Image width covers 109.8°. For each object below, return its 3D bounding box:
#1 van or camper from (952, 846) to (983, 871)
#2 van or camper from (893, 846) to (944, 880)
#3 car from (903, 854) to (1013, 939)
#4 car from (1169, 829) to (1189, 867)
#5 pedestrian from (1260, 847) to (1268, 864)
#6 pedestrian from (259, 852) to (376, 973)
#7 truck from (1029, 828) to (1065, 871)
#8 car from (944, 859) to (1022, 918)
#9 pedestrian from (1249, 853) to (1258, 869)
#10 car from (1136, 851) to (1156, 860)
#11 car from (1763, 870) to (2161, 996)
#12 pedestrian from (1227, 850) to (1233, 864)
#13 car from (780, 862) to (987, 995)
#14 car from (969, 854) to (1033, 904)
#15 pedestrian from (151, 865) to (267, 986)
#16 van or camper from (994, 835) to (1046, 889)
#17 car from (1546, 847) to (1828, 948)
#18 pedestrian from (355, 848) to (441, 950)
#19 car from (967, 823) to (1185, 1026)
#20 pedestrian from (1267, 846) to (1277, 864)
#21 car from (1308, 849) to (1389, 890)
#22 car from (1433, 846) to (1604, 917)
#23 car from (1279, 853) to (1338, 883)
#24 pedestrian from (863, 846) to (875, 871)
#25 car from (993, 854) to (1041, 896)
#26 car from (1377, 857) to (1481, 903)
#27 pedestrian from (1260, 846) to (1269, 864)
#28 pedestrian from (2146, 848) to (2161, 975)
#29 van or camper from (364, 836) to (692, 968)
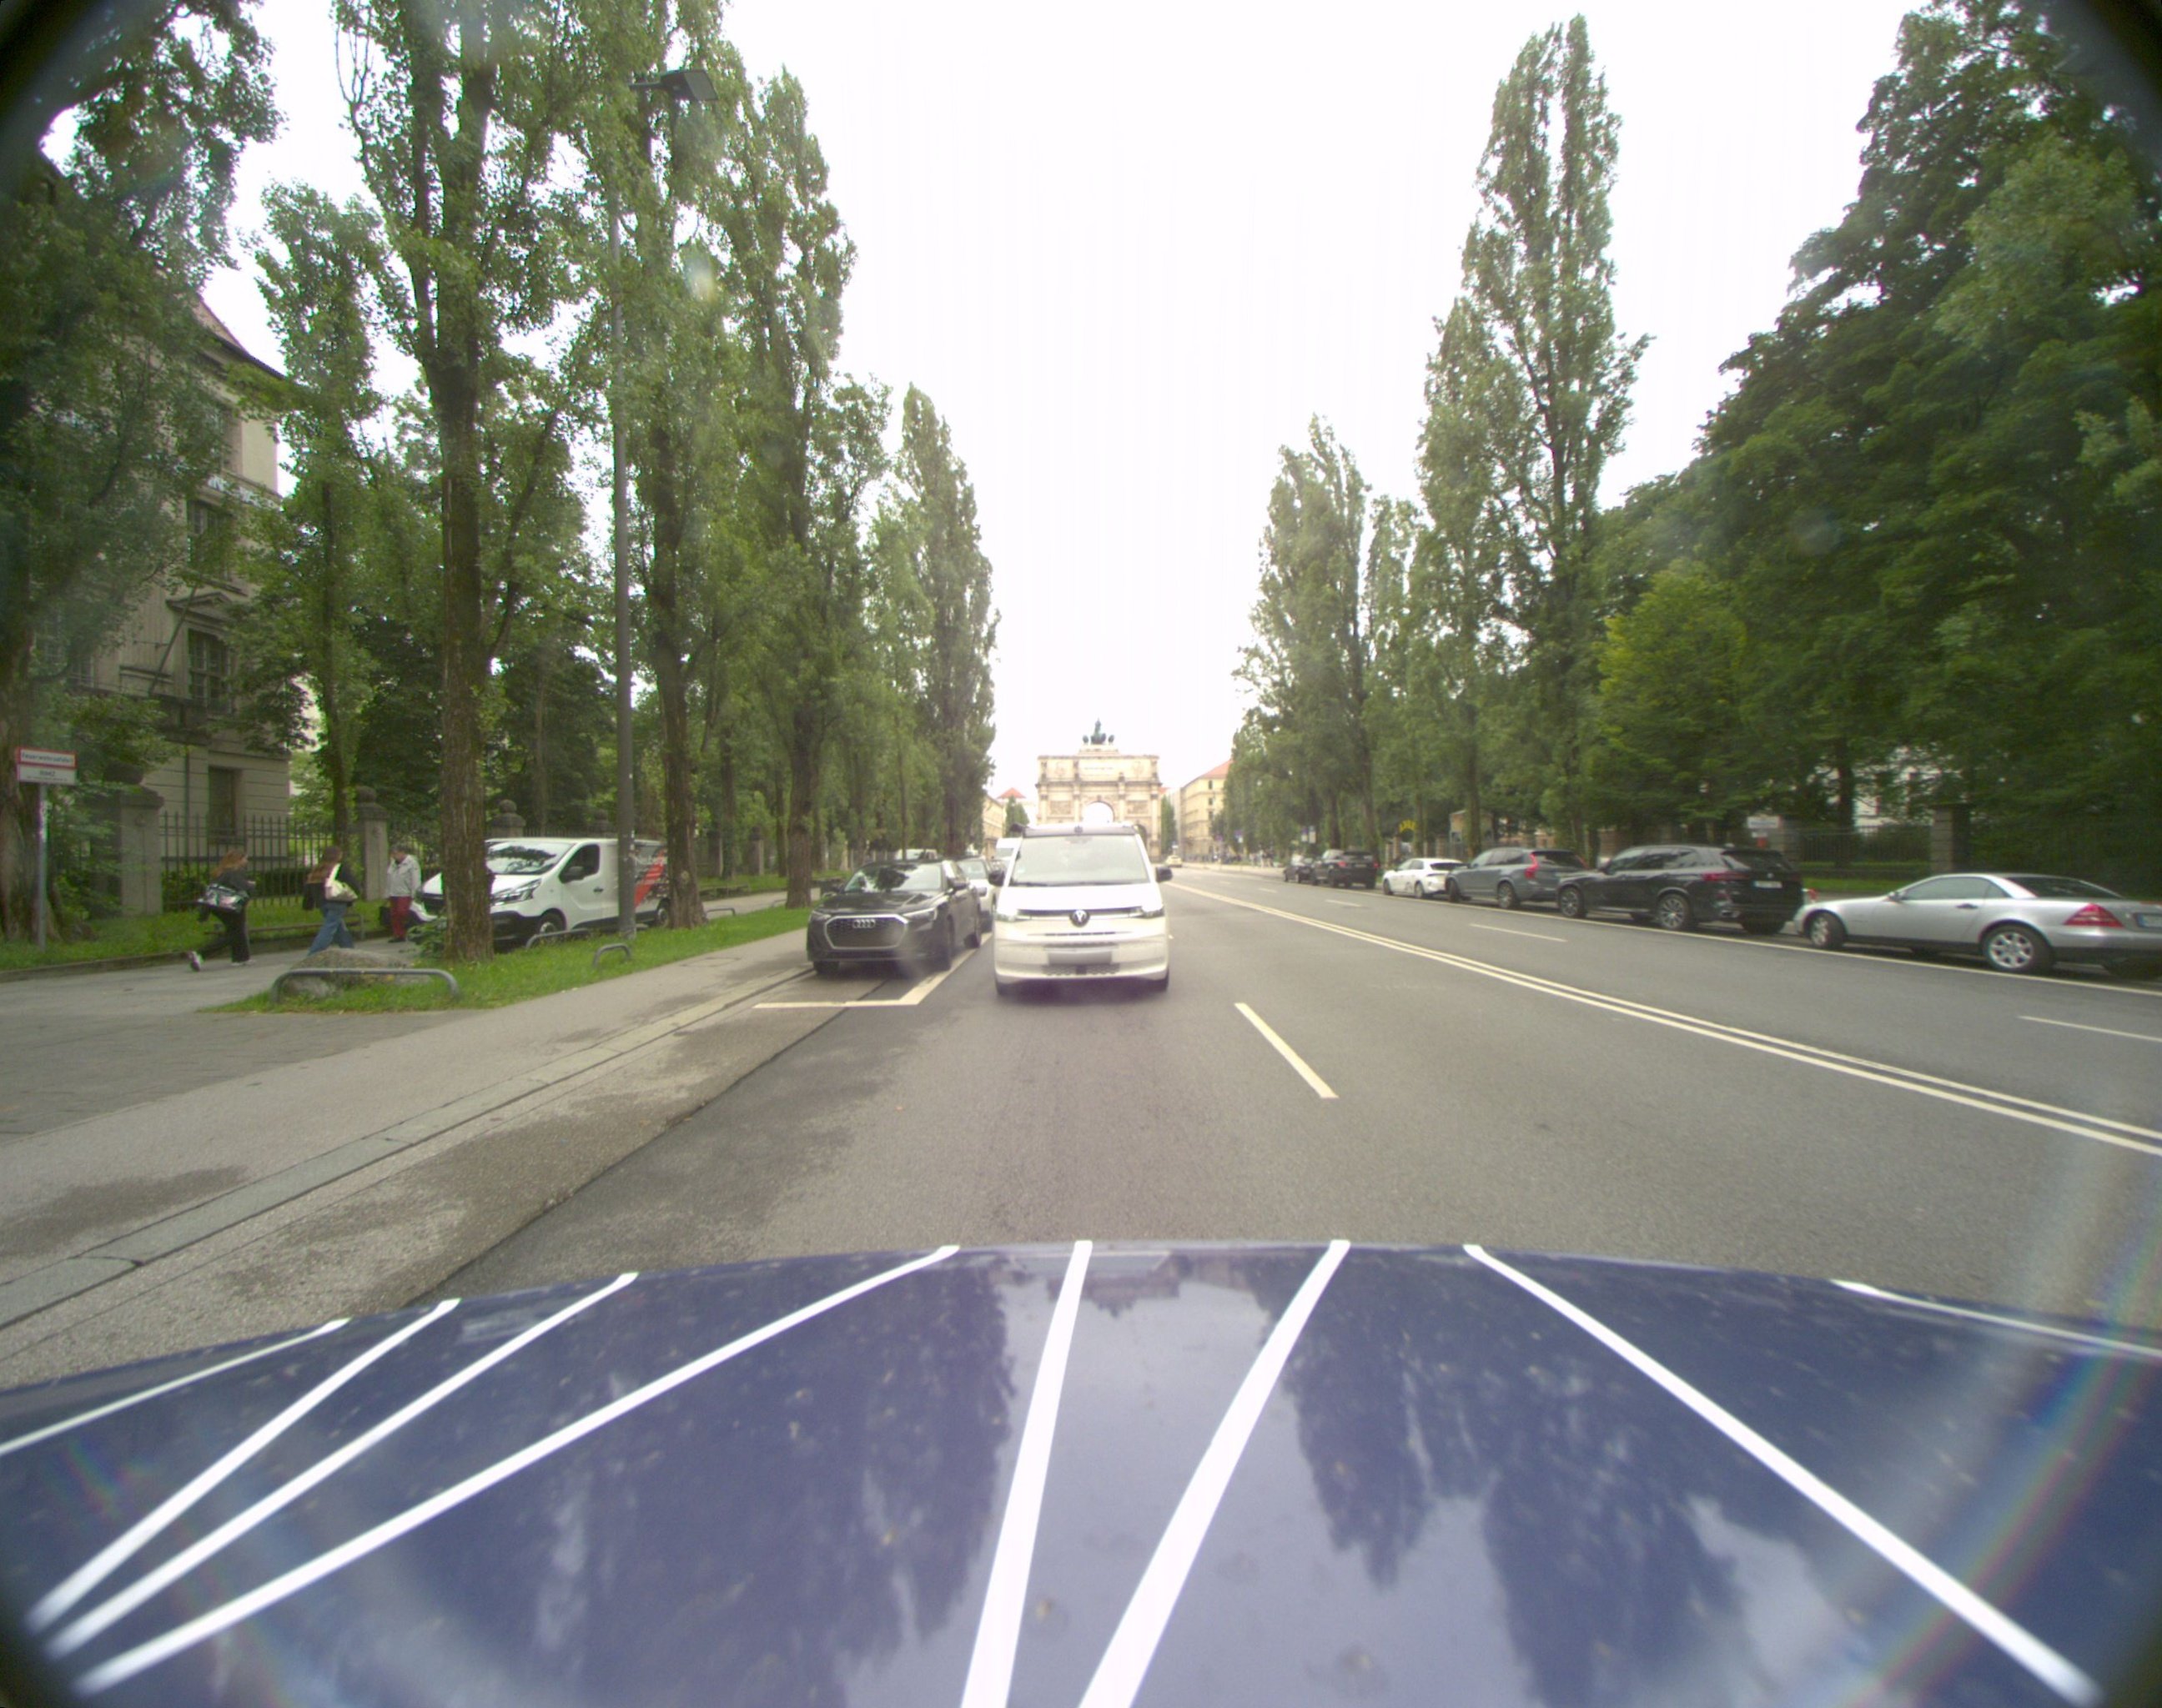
[{"bbox_3d":[-9.701,0.402,65.479,2.009,2.002,4.985,-2,0,-2],"label":"van or camper"},{"bbox_3d":[-9.753,0.515,45.993,1.980,1.922,5.037,-2,0,-1],"label":"van or camper"},{"bbox_3d":[-2.615,0.837,17.198,1.747,1.665,4.579,-1,0,0],"label":"car"},{"bbox_3d":[12.002,-0.789,93.147,1.799,4.450,1.333,17,-42,-8],"label":"car"},{"bbox_3d":[19.315,0.147,80.180,0.661,1.706,0.911,-1,0,-1],"label":"pedestrian"},{"bbox_3d":[-11.258,0.837,11.238,0.855,1.707,0.867,1,1,-1],"label":"pedestrian"},{"bbox_3d":[-2.955,-0.355,68.817,2.852,3.543,10.277,-1,0,-1],"label":"truck"},{"bbox_3d":[-2.756,0.916,22.130,1.707,1.511,4.294,-1,0,0],"label":"car"},{"bbox_3d":[18.217,0.782,80.330,0.689,1.690,0.885,-1,0,-1],"label":"pedestrian"},{"bbox_3d":[14.091,0.328,163.986,2.004,1.739,3.989,-1,0,-40],"label":"car"},{"bbox_3d":[12.597,0.974,10.852,1.831,1.326,4.233,2,0,-1],"label":"car"},{"bbox_3d":[17.923,0.364,91.381,0.533,1.720,0.583,-1,1,-11],"label":"pedestrian"},{"bbox_3d":[-2.648,0.925,11.376,1.885,1.531,4.464,-1,0,0],"label":"car"},{"bbox_3d":[-2.734,0.826,27.026,1.788,1.608,4.637,-1,0,0],"label":"car"},{"bbox_3d":[-11.966,0.950,10.459,0.569,1.569,0.867,0,1,0],"label":"pedestrian"},{"bbox_3d":[-3.021,0.348,39.223,2.144,2.525,6.416,-1,0,0],"label":"van or camper"},{"bbox_3d":[12.423,0.778,16.141,1.946,1.757,4.894,2,0,-2],"label":"car"},{"bbox_3d":[-12.305,0.789,13.713,0.723,1.760,0.867,2,1,1],"label":"pedestrian"},{"bbox_3d":[-0.025,0.675,10.223,2.064,1.916,5.728,-1,0,0],"label":"car"},{"bbox_3d":[19.587,0.109,77.980,0.711,1.762,1.092,0,1,-1],"label":"pedestrian"},{"bbox_3d":[12.472,0.672,35.799,2.051,1.776,4.799,1,0,0],"label":"car"},{"bbox_3d":[12.512,0.699,22.246,1.914,1.779,5.179,2,0,-1],"label":"car"},{"bbox_3d":[12.523,0.736,42.130,1.949,1.574,4.388,1,0,0],"label":"car"},{"bbox_3d":[-17.306,0.352,62.085,0.905,2.002,0.956,0,1,-16],"label":"pedestrian"},{"bbox_3d":[-2.648,0.819,32.270,1.789,1.639,4.416,-1,0,-2],"label":"car"},{"bbox_3d":[12.378,0.860,27.323,1.708,1.450,4.272,1,0,-1],"label":"car"},{"bbox_3d":[18.840,0.068,77.964,0.711,1.823,1.092,0,1,-1],"label":"pedestrian"},{"bbox_3d":[14.512,0.752,9.702,0.740,1.654,0.751,0,1,1],"label":"pedestrian"},{"bbox_3d":[-9.679,0.720,14.103,2.081,1.922,5.368,-2,0,0],"label":"van or camper"}]
